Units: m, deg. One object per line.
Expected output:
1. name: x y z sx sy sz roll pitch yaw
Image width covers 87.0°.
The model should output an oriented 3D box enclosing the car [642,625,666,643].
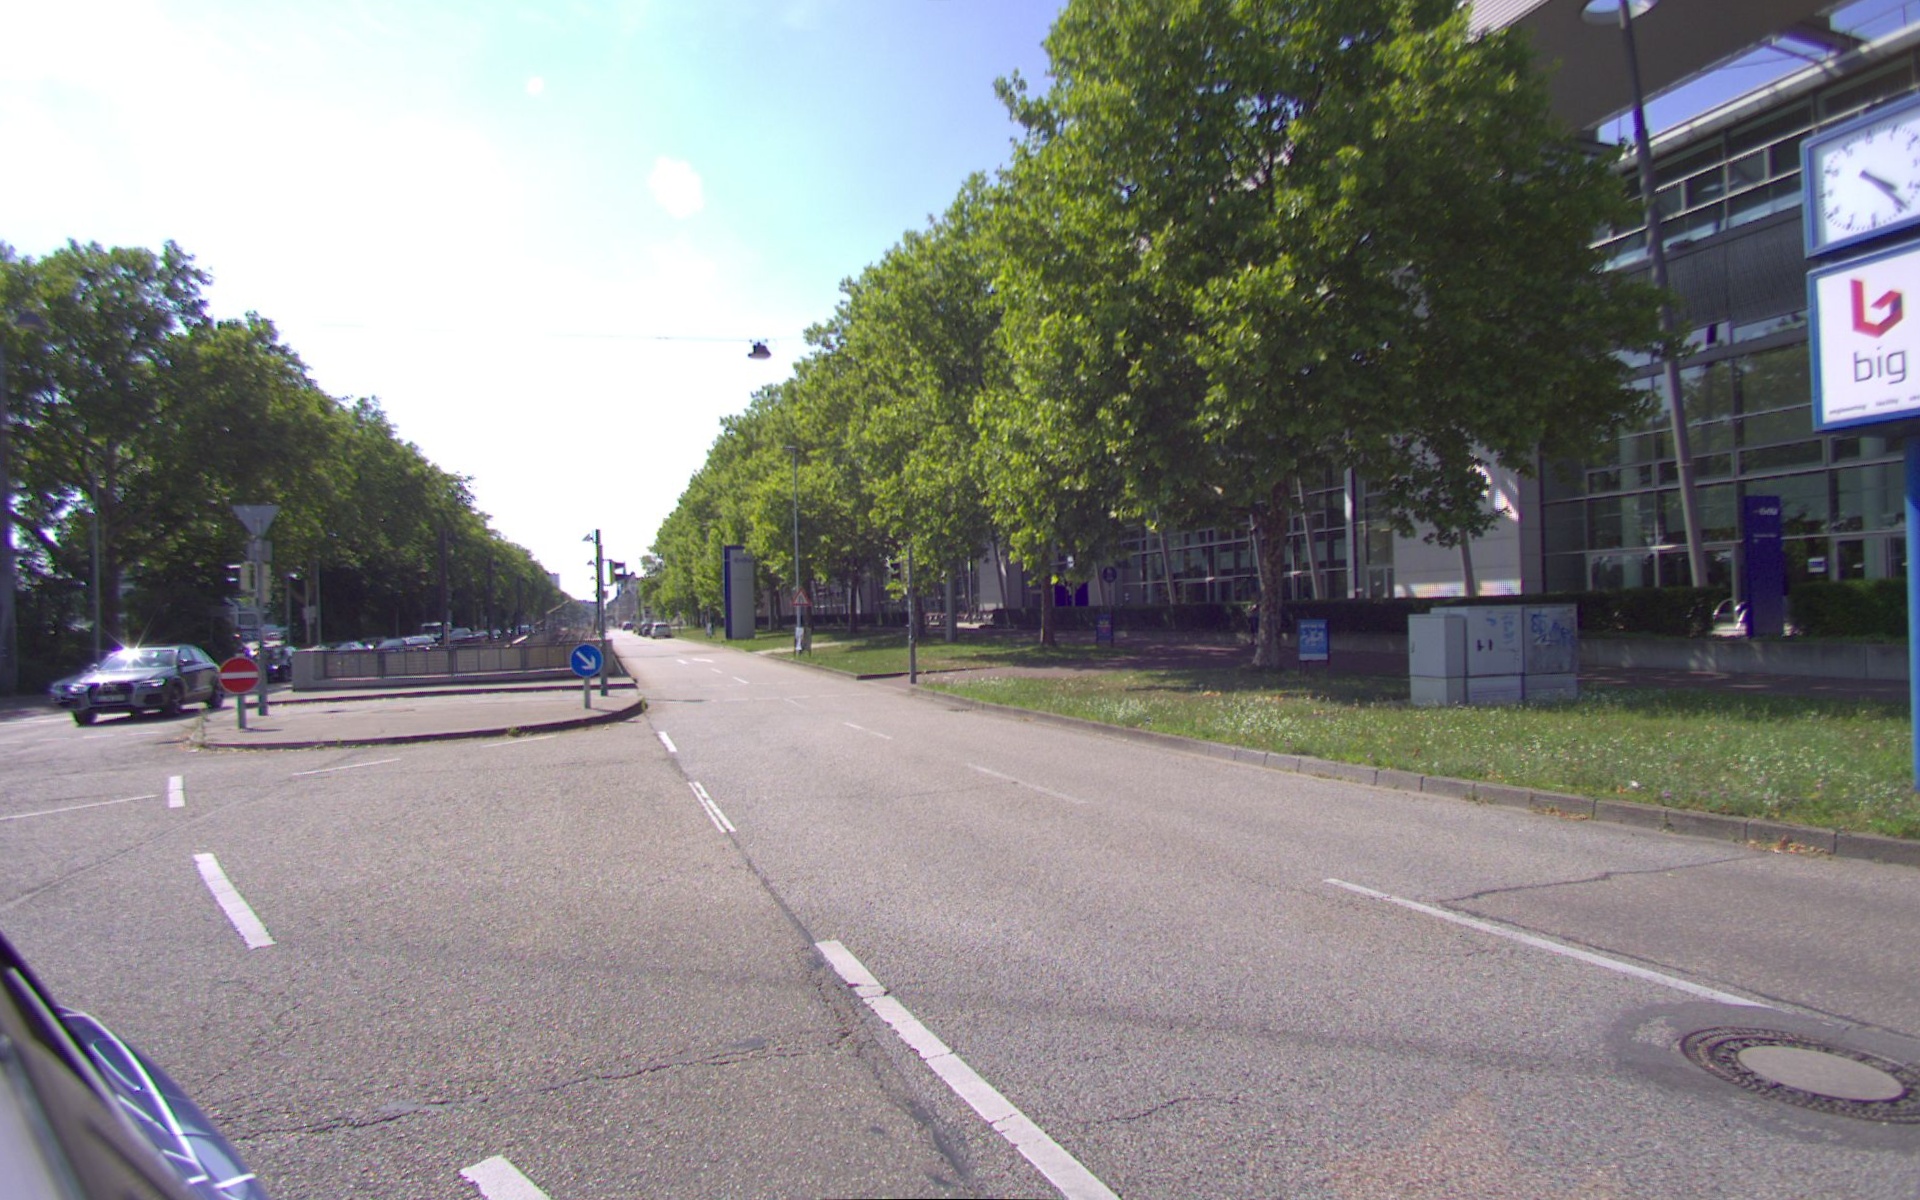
1. car: -31.045 3.416 102.583 1.871 1.652 4.013 -3 -1 -21

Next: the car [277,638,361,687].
1. car: -24.336 2.331 38.558 1.788 1.625 4.012 -3 -1 -20

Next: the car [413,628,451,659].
1. car: -43.537 3.568 83.552 2.066 2.369 5.654 -2 -1 -21

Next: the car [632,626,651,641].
1. car: -38.928 4.123 123.606 1.871 1.652 4.013 -3 -1 -21

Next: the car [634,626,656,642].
1. car: -34.658 3.733 111.387 1.871 1.652 4.800 -3 -1 -21

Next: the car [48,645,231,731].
1. car: -18.386 1.886 22.951 1.799 1.561 4.575 -2 -1 -20

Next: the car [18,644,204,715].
1. car: -26.041 2.365 31.335 1.968 1.737 5.174 -4 -1 -9

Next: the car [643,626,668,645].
1. car: -29.350 3.412 97.545 1.871 1.652 4.013 -3 -1 -21

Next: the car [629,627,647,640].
1. car: -43.432 4.556 136.478 1.871 1.652 4.013 -3 -1 -21

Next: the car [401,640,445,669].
1. car: -31.271 3.132 59.018 1.752 1.507 4.013 -2 -1 -21

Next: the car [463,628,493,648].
1. car: -40.822 3.183 85.753 1.792 1.541 4.012 -1 -1 -19

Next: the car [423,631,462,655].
1. car: -36.324 3.017 71.122 1.792 1.541 4.012 -1 -1 -17

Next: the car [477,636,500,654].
1. car: -45.865 4.366 98.559 1.752 1.507 4.013 -2 -1 -21
